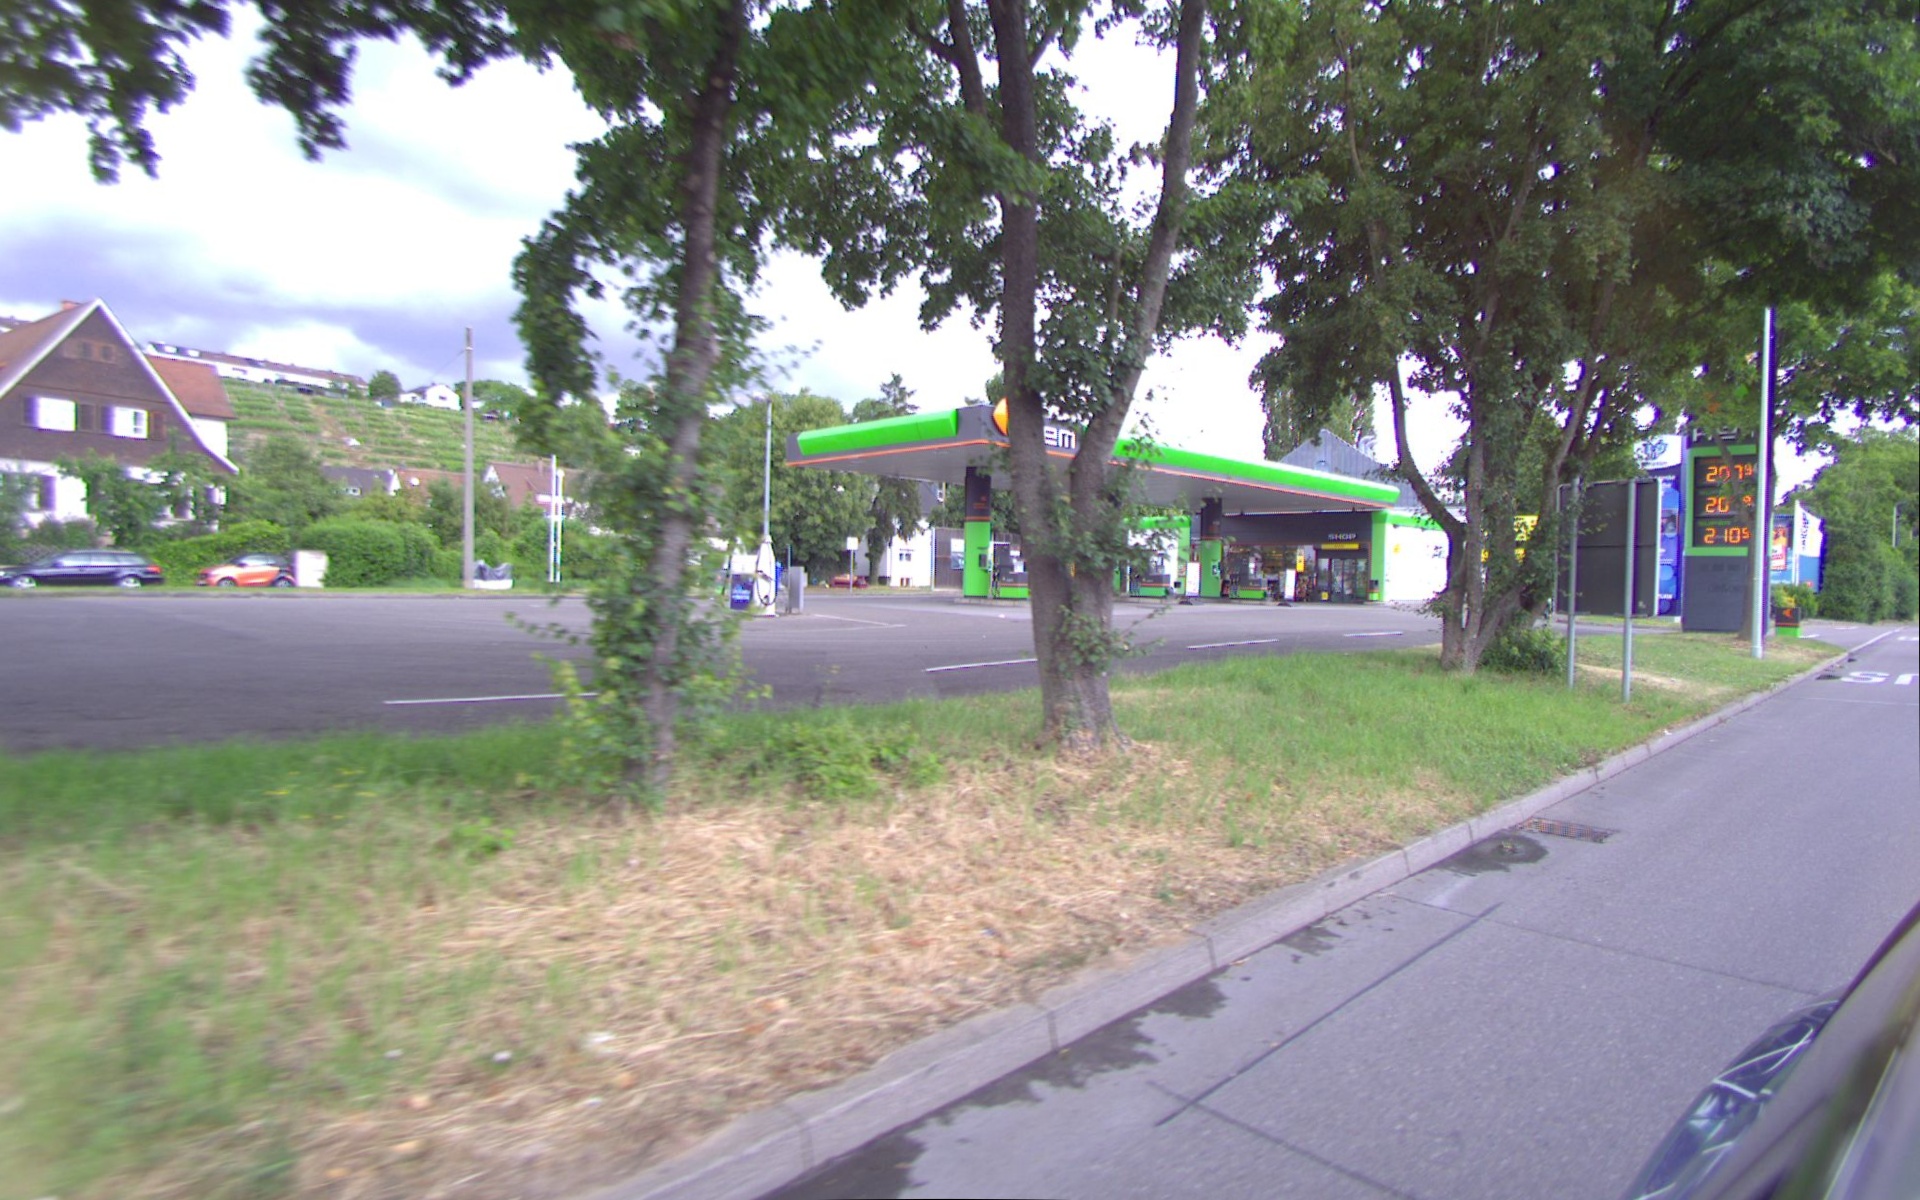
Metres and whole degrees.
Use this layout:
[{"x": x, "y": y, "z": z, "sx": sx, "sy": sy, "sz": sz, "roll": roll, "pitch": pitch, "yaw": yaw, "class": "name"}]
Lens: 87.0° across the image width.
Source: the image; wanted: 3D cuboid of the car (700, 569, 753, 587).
[{"x": -17.276, "y": -1.633, "z": 74.798, "sx": 3.984, "sy": 1.234, "sz": 1.816, "roll": 3, "pitch": 2, "yaw": 41, "class": "car"}]

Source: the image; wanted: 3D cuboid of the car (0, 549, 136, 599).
[{"x": -28.997, "y": -0.783, "z": 32.161, "sx": 1.985, "sy": 1.483, "sz": 3.953, "roll": -1, "pitch": -1, "yaw": 33, "class": "car"}]

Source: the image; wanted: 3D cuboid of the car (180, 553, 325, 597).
[{"x": -26.015, "y": -0.865, "z": 37.322, "sx": 1.985, "sy": 1.483, "sz": 3.953, "roll": -1, "pitch": -1, "yaw": 33, "class": "car"}]

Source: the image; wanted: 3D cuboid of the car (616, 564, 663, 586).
[{"x": -22.453, "y": -1.734, "z": 70.862, "sx": 1.642, "sy": 1.422, "sz": 3.867, "roll": 0, "pitch": -1, "yaw": -44, "class": "car"}]
